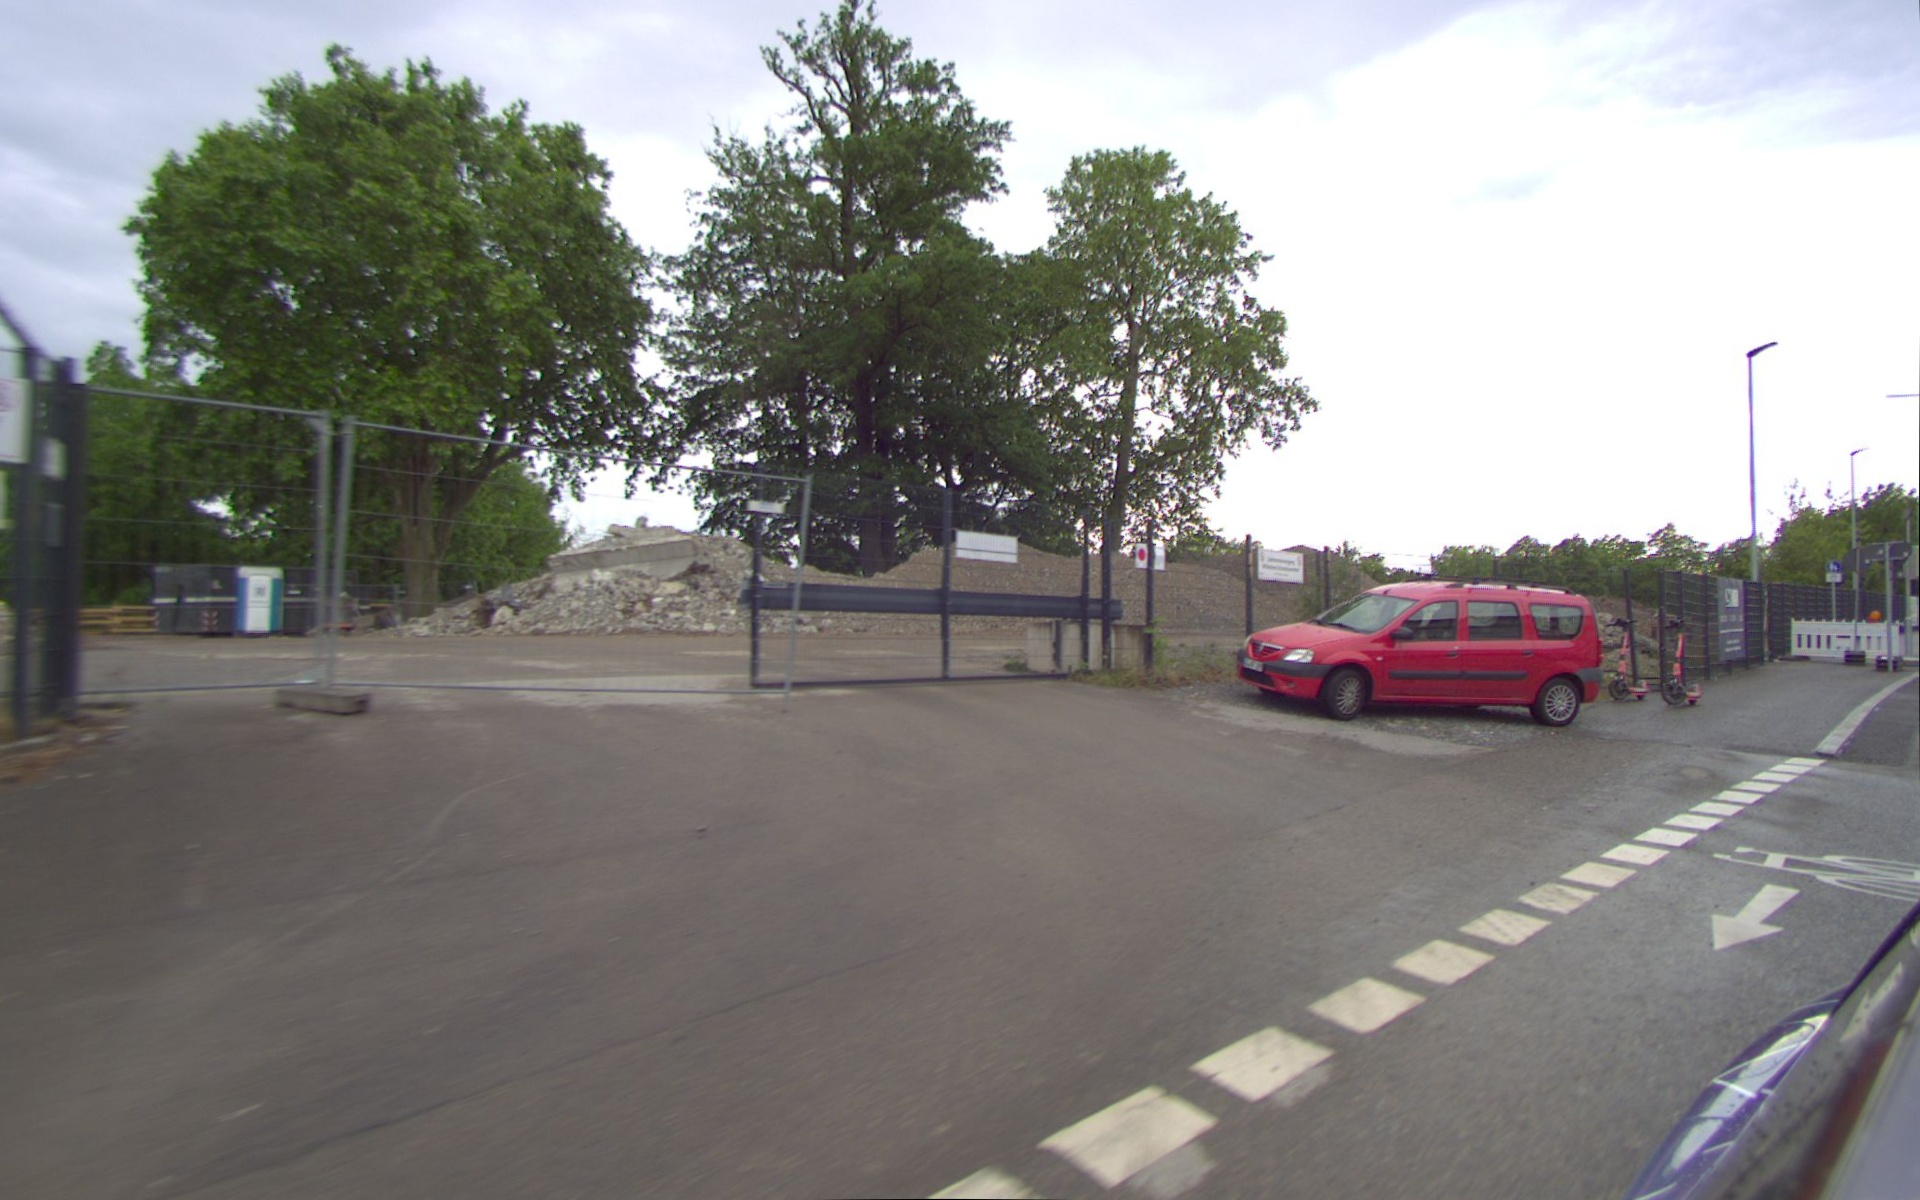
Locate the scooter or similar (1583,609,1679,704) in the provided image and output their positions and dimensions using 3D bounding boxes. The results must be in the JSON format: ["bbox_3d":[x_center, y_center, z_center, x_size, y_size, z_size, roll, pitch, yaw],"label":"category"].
[{"bbox_3d":[10.306,0.826,15.524,1.876,1.368,0.616,0,-1,-37],"label":"scooter or similar"}]

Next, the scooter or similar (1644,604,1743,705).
[{"bbox_3d":[10.676,0.749,14.708,1.876,1.368,0.616,0,-1,-37],"label":"scooter or similar"}]

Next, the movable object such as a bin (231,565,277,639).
[{"bbox_3d":[-22.569,0.053,32.380,1.087,2.280,1.385,-1,0,-30],"label":"movable object such as a bin"}]

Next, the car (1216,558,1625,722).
[{"bbox_3d":[5.589,0.430,12.501,4.317,1.817,1.828,0,0,-11],"label":"car"}]
